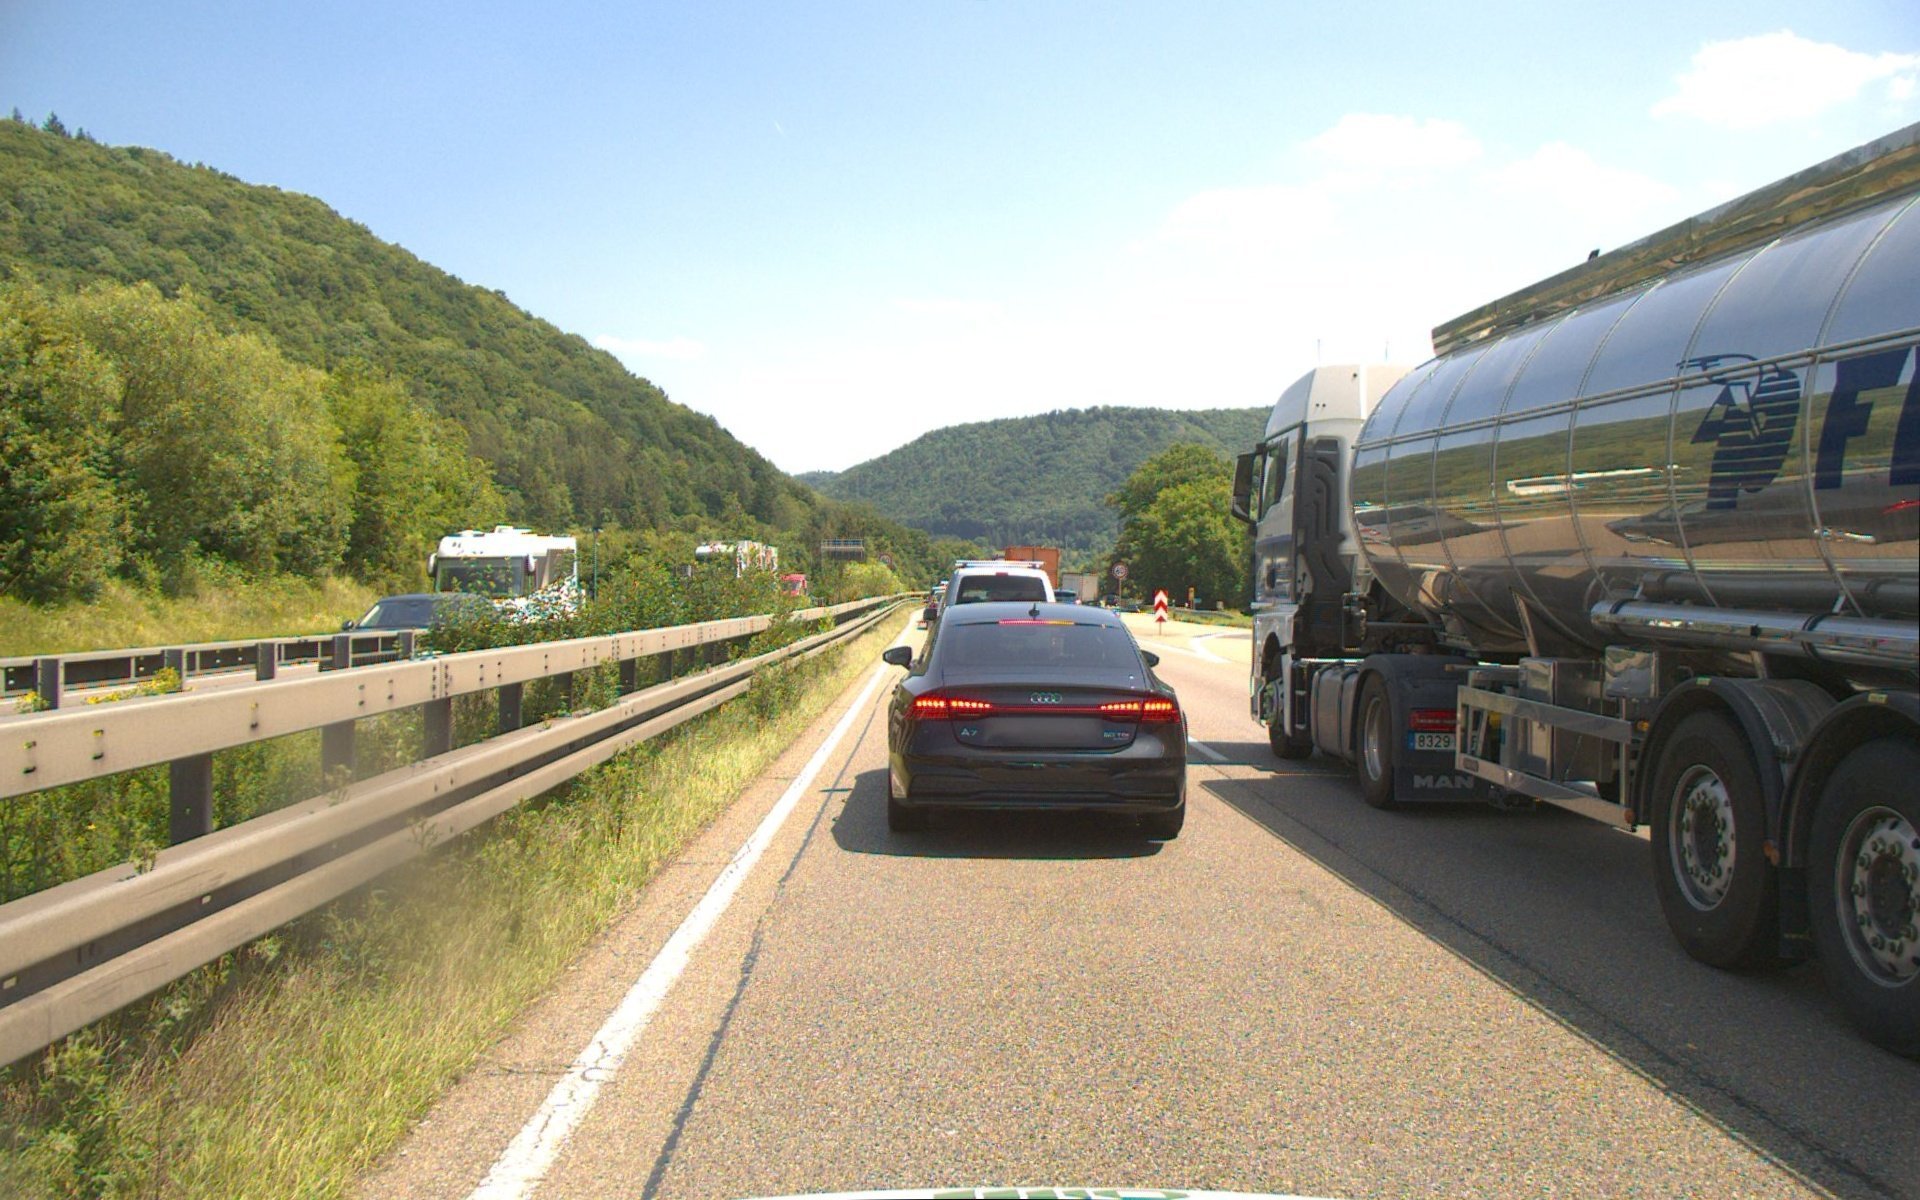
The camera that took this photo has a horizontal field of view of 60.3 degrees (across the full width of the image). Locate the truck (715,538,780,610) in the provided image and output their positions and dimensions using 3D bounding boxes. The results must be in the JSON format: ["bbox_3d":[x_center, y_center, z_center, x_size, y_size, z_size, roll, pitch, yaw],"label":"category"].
[{"bbox_3d":[-12.476,-1.483,97.810,2.811,4.050,9.030,1,0,-1],"label":"truck"}]

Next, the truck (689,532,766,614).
[{"bbox_3d":[-12.289,-1.411,88.209,2.811,4.076,10.168,1,0,-1],"label":"truck"}]

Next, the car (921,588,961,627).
[{"bbox_3d":[-0.804,0.311,72.257,1.677,1.646,4.000,0,0,0],"label":"car"}]

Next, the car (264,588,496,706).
[{"bbox_3d":[-7.990,0.587,23.247,1.761,1.489,4.535,0,0,-2],"label":"car"}]

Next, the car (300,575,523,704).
[{"bbox_3d":[-7.759,0.504,23.858,1.739,1.680,4.491,0,0,0],"label":"car"}]

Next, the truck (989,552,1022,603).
[{"bbox_3d":[3.261,-1.602,120.736,1.953,3.507,11.810,1,0,0],"label":"truck"}]

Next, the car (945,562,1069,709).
[{"bbox_3d":[0.582,0.436,23.128,1.544,1.865,3.999,1,0,-1],"label":"car"}]

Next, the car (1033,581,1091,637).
[{"bbox_3d":[3.785,0.319,62.065,1.952,2.037,4.000,0,0,0],"label":"car"}]

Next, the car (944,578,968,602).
[{"bbox_3d":[-0.280,-0.733,116.707,1.677,1.646,4.000,0,0,0],"label":"car"}]

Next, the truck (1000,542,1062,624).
[{"bbox_3d":[3.742,-0.909,90.563,2.760,4.073,14.955,1,0,0],"label":"truck"}]

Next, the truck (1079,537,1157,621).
[{"bbox_3d":[8.234,-1.080,88.021,2.760,4.073,14.955,1,0,0],"label":"truck"}]

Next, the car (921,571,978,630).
[{"bbox_3d":[-0.401,-0.001,59.469,1.953,2.049,3.999,0,0,-1],"label":"car"}]

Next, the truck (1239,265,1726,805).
[{"bbox_3d":[4.180,-0.478,14.435,2.460,3.824,5.244,1,0,-1],"label":"truck"}]

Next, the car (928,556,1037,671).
[{"bbox_3d":[0.379,0.234,31.899,1.953,2.049,3.999,1,0,-1],"label":"car"}]

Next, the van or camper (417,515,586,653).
[{"bbox_3d":[-12.219,-0.427,44.740,2.537,3.394,7.647,0,0,-1],"label":"van or camper"}]

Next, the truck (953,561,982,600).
[{"bbox_3d":[0.656,-1.757,153.662,2.575,3.500,11.420,0,0,0],"label":"truck"}]

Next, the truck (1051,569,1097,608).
[{"bbox_3d":[14.067,-1.382,202.247,3.712,4.491,14.968,0,0,11],"label":"truck"}]

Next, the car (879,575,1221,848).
[{"bbox_3d":[0.412,0.612,11.289,1.813,1.514,4.079,1,0,-4],"label":"car"}]

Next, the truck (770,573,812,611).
[{"bbox_3d":[-12.275,-0.584,120.554,2.249,2.633,7.967,0,0,0],"label":"truck"}]

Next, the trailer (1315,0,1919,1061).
[{"bbox_3d":[4.299,-0.421,7.694,2.486,3.800,11.889,1,0,-1],"label":"trailer"}]
